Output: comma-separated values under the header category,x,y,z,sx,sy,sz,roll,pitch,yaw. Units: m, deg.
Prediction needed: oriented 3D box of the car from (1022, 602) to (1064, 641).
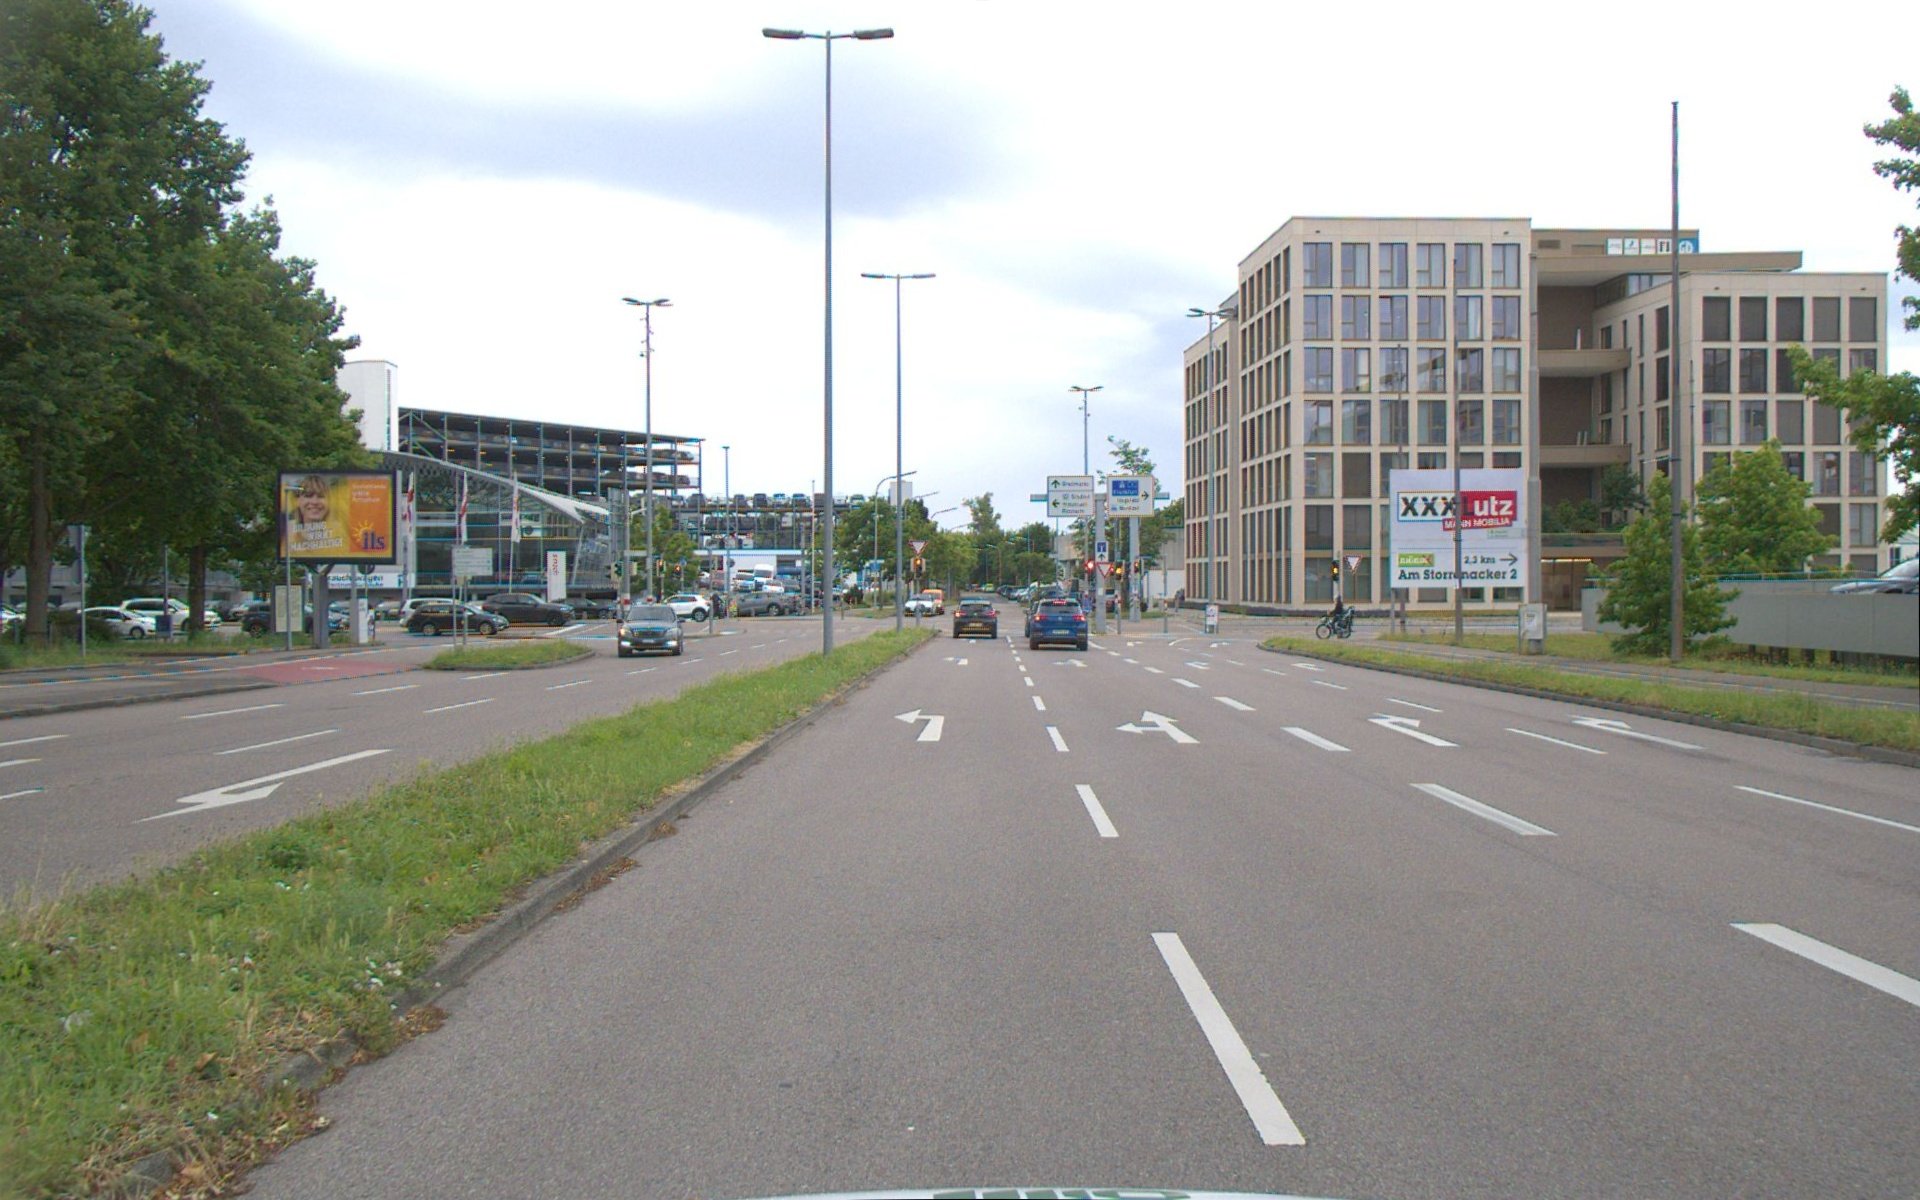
category,x,y,z,sx,sy,sz,roll,pitch,yaw
car,3.317,0.851,66.383,1.493,1.457,3.390,0,1,0

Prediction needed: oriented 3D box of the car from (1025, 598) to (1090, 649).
category,x,y,z,sx,sy,sz,roll,pitch,yaw
car,3.025,0.735,52.042,1.797,1.541,3.999,0,-1,0

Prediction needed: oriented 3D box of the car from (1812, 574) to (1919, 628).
category,x,y,z,sx,sy,sz,roll,pitch,yaw
car,22.298,0.009,38.933,3.618,1.197,1.720,0,2,-1

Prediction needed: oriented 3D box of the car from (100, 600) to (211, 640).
category,x,y,z,sx,sy,sz,roll,pitch,yaw
car,-38.853,0.976,79.970,4.347,1.740,1.999,0,4,-6

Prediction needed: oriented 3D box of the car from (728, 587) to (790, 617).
category,x,y,z,sx,sy,sz,roll,pitch,yaw
car,-13.196,0.125,108.643,3.909,1.821,1.846,0,2,-5

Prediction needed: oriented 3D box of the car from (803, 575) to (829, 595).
category,x,y,z,sx,sy,sz,roll,pitch,yaw
car,-13.254,-1.381,152.552,1.738,1.735,3.919,0,2,5

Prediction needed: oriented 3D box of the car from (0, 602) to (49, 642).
category,x,y,z,sx,sy,sz,roll,pitch,yaw
car,-46.210,1.070,79.506,3.684,1.776,1.880,-1,2,-2

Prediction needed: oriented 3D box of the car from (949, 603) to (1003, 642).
category,x,y,z,sx,sy,sz,roll,pitch,yaw
car,0.600,0.863,64.448,1.947,1.453,4.239,0,-1,-2

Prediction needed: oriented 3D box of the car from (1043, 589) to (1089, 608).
category,x,y,z,sx,sy,sz,roll,pitch,yaw
car,8.960,-0.121,139.597,3.529,1.504,1.760,1,2,20

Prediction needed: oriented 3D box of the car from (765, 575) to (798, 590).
category,x,y,z,sx,sy,sz,roll,pitch,yaw
car,-19.811,-1.918,183.293,3.592,1.555,1.612,0,2,-7

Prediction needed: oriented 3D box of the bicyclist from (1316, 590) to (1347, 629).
category,x,y,z,sx,sy,sz,roll,pitch,yaw
bicyclist,14.816,0.365,65.987,0.694,1.530,0.987,0,1,-36

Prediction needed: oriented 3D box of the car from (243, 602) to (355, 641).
category,x,y,z,sx,sy,sz,roll,pitch,yaw
car,-30.752,0.982,77.057,4.456,1.688,1.997,-1,1,-7

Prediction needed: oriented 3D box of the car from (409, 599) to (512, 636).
category,x,y,z,sx,sy,sz,roll,pitch,yaw
car,-23.455,0.826,77.763,4.332,1.689,1.997,0,0,-7

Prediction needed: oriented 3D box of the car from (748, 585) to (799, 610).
category,x,y,z,sx,sy,sz,roll,pitch,yaw
car,-13.434,-0.185,119.238,3.534,1.697,1.547,0,2,-5

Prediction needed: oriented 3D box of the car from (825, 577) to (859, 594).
category,x,y,z,sx,sy,sz,roll,pitch,yaw
car,-11.592,-1.438,162.642,3.229,1.669,1.479,0,2,-3

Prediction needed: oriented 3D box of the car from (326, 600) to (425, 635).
category,x,y,z,sx,sy,sz,roll,pitch,yaw
car,-28.450,0.843,80.567,4.167,1.535,1.998,0,2,-7

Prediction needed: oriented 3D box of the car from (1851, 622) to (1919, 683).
category,x,y,z,sx,sy,sz,roll,pitch,yaw
car,34.611,1.877,59.496,2.405,2.049,5.108,0,0,0

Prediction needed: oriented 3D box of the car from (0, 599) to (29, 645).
category,x,y,z,sx,sy,sz,roll,pitch,yaw
car,-45.987,1.002,76.149,5.030,1.998,1.880,0,3,-4

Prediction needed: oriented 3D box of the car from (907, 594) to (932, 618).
category,x,y,z,sx,sy,sz,roll,pitch,yaw
car,-2.740,0.425,112.552,1.568,1.478,3.325,0,2,0

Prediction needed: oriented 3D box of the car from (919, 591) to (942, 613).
category,x,y,z,sx,sy,sz,roll,pitch,yaw
car,-2.121,0.108,120.695,1.568,1.478,3.325,0,2,0

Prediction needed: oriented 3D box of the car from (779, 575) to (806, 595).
category,x,y,z,sx,sy,sz,roll,pitch,yaw
car,-15.400,-1.374,152.509,1.738,1.735,3.919,0,2,5

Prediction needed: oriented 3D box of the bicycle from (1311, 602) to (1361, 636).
category,x,y,z,sx,sy,sz,roll,pitch,yaw
bicycle,14.949,0.746,65.811,0.694,1.318,1.986,0,1,-36

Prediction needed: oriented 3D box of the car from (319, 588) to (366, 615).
category,x,y,z,sx,sy,sz,roll,pitch,yaw
car,-38.113,0.069,102.115,1.565,1.511,3.536,0,2,0

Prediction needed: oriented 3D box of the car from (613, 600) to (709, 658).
category,x,y,z,sx,sy,sz,roll,pitch,yaw
car,-8.605,0.795,47.954,1.754,1.505,4.533,-2,0,2

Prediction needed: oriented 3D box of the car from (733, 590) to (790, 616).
category,x,y,z,sx,sy,sz,roll,pitch,yaw
car,-13.274,0.195,110.825,3.747,1.617,1.681,0,2,-5

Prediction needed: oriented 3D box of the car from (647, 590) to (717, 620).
category,x,y,z,sx,sy,sz,roll,pitch,yaw
car,-15.641,0.264,93.279,3.869,1.595,1.757,0,2,-9

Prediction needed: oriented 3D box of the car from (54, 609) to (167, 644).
category,x,y,z,sx,sy,sz,roll,pitch,yaw
car,-39.168,1.220,76.347,4.144,1.538,1.993,0,1,-4

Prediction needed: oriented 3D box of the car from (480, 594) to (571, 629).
category,x,y,z,sx,sy,sz,roll,pitch,yaw
car,-22.156,0.560,84.530,4.324,1.672,1.995,-1,2,-11
